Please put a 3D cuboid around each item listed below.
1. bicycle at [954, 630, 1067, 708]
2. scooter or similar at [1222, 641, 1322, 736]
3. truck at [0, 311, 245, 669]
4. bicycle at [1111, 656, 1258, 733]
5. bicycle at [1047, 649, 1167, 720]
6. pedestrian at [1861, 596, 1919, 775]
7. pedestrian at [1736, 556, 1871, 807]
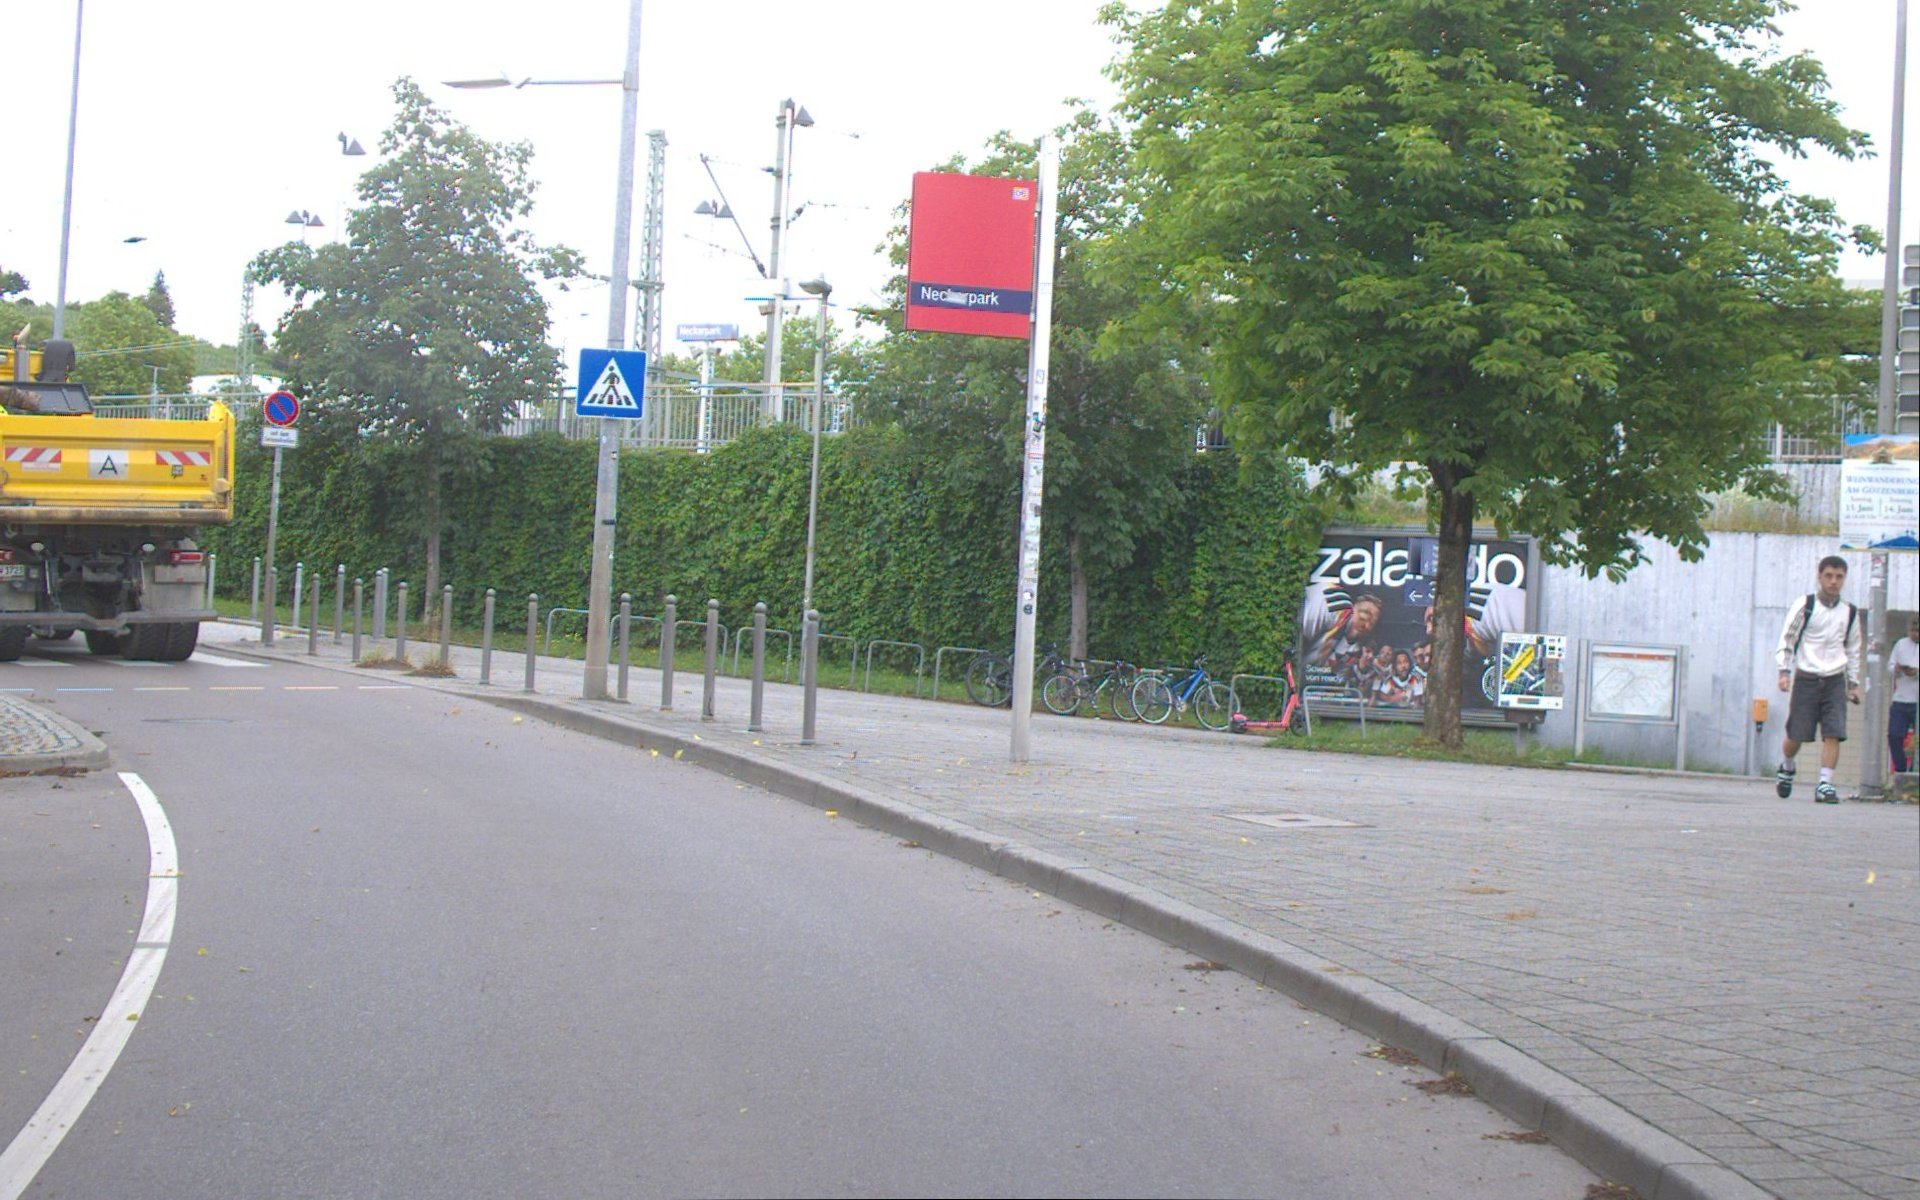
[{"bbox_3d":[0.728,0.987,49.550,1.487,0.986,0.694,5,0,-5],"label":"bicycle"},{"bbox_3d":[4.284,1.217,47.237,1.187,1.202,0.468,6,-1,-19],"label":"scooter or similar"},{"bbox_3d":[-10.491,-1.308,38.206,2.764,3.471,8.131,3,2,-27],"label":"truck"},{"bbox_3d":[3.163,1.328,48.387,1.965,0.862,0.511,7,-1,-23],"label":"bicycle"},{"bbox_3d":[2.107,1.210,49.206,1.574,0.851,0.464,6,-1,-19],"label":"bicycle"},{"bbox_3d":[9.197,0.833,33.319,0.815,1.697,0.748,2,-2,17],"label":"pedestrian"},{"bbox_3d":[5.831,0.564,23.796,0.848,1.678,0.939,1,-2,13],"label":"pedestrian"}]
